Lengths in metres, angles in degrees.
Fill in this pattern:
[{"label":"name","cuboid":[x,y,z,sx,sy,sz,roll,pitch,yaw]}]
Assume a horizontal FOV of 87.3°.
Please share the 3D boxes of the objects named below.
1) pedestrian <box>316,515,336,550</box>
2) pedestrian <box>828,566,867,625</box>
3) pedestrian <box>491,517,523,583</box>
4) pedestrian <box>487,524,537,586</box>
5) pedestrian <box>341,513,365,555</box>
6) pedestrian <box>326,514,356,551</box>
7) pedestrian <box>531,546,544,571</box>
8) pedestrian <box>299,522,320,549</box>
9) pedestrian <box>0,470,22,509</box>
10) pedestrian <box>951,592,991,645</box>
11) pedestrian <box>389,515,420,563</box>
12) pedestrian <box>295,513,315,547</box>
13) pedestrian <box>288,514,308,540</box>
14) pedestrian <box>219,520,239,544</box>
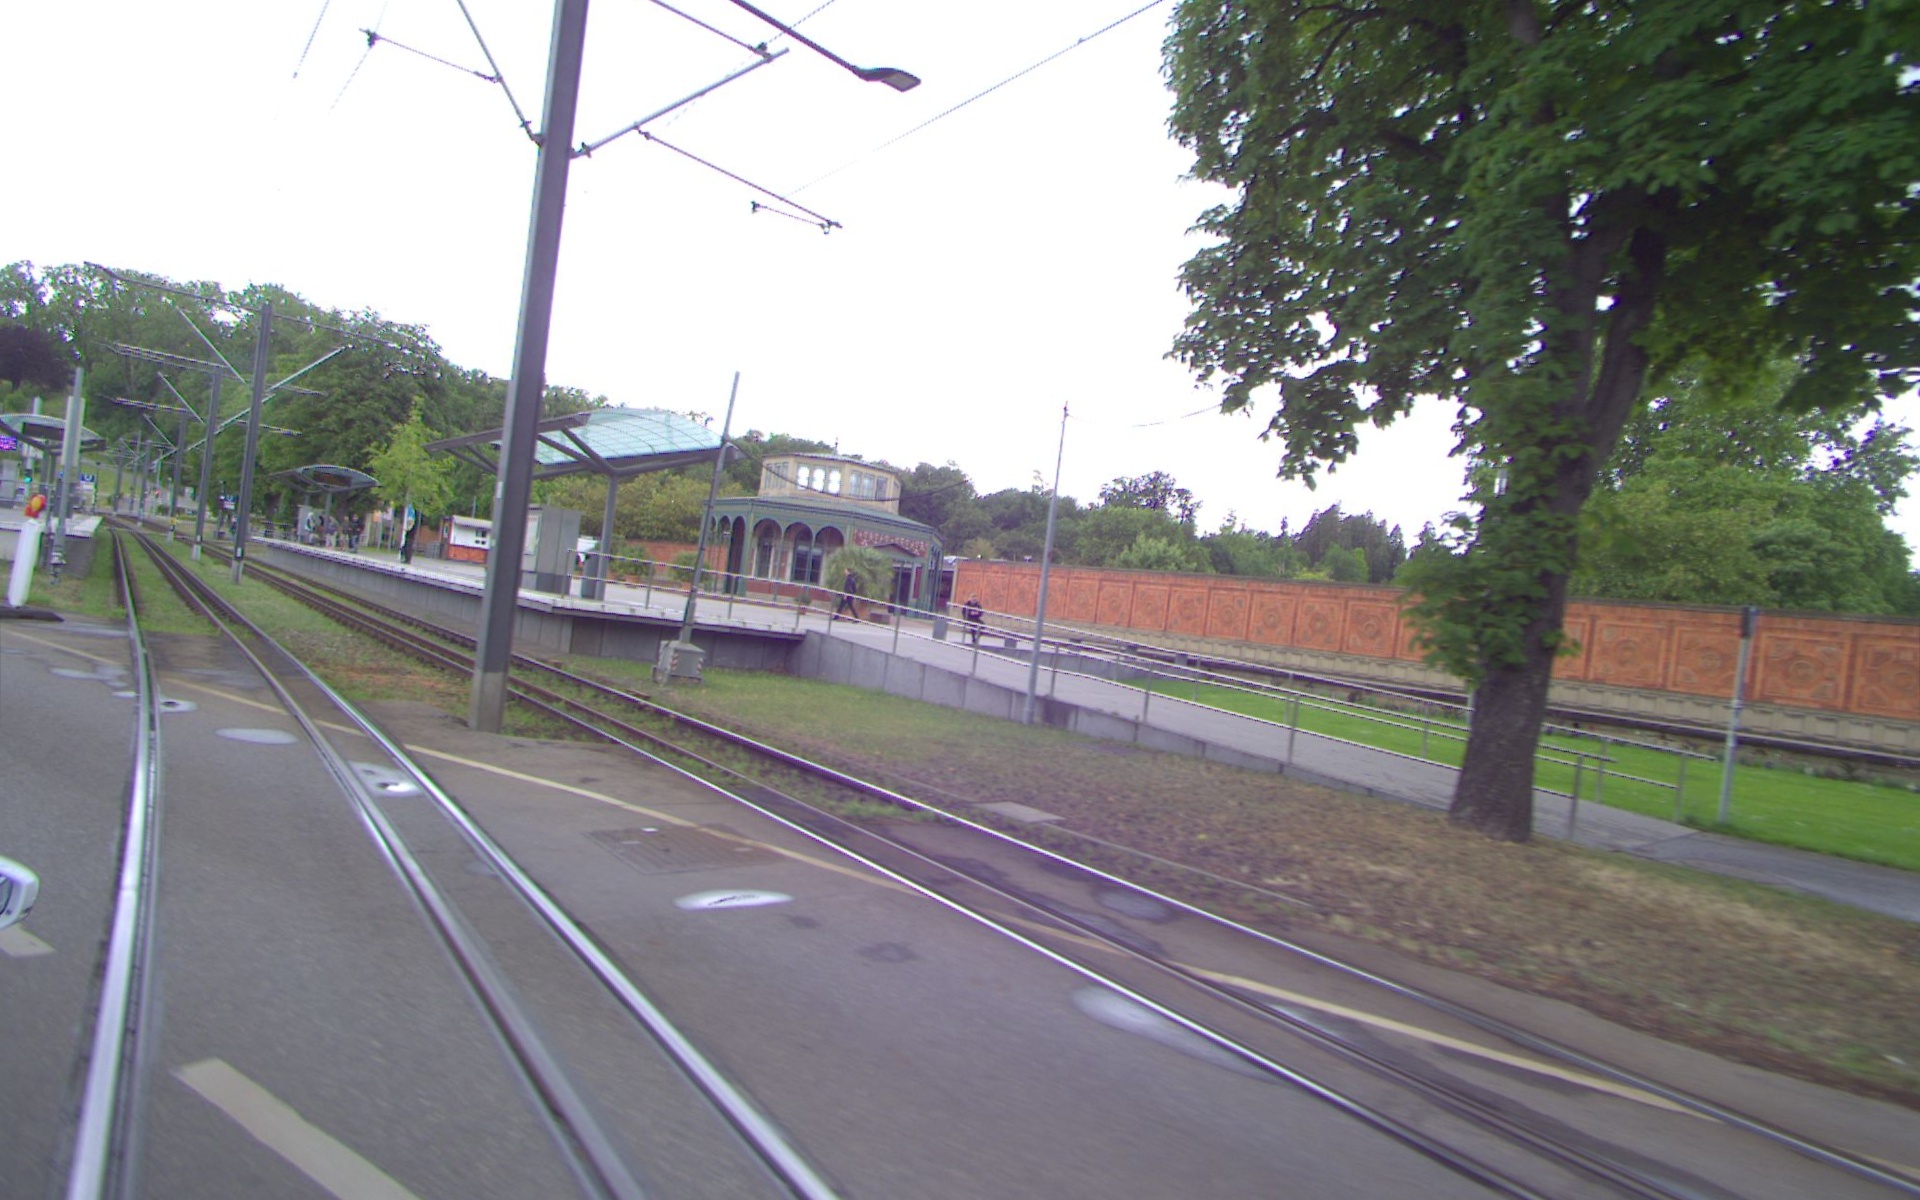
[{"label":"pedestrian","cuboid":[-30.636,-3.267,48.627,0.522,1.638,0.668,10,-2,-39]},{"label":"pedestrian","cuboid":[-3.871,-0.158,34.684,0.935,1.858,0.550,8,-2,23]},{"label":"pedestrian","cuboid":[-12.063,-1.335,26.784,0.483,1.679,0.623,9,-2,-32]},{"label":"pedestrian","cuboid":[-12.374,-1.234,27.796,0.773,1.559,0.761,8,-2,26]},{"label":"pedestrian","cuboid":[-28.258,-3.065,46.829,0.630,1.858,0.940,10,-2,-39]},{"label":"pedestrian","cuboid":[-30.822,-3.357,50.067,0.750,1.696,0.860,7,-2,39]},{"label":"pedestrian","cuboid":[-27.171,-2.660,64.736,0.483,1.504,0.455,9,-2,-38]},{"label":"pedestrian","cuboid":[-32.017,-3.191,49.515,0.655,1.204,0.668,10,-2,-39]},{"label":"pedestrian","cuboid":[-41.918,-4.880,44.217,0.748,1.571,0.766,10,0,-39]},{"label":"pedestrian","cuboid":[0.272,0.460,25.307,0.660,1.214,0.547,7,-2,43]},{"label":"pedestrian","cuboid":[-20.900,-2.301,37.852,0.631,1.706,0.856,10,-2,-41]},{"label":"pedestrian","cuboid":[-34.211,-3.644,52.551,0.543,1.696,0.667,10,-2,-44]},{"label":"pedestrian","cuboid":[-37.546,-4.149,57.030,0.672,1.338,0.956,10,-2,-42]},{"label":"pedestrian","cuboid":[-53.794,-4.973,74.039,0.765,1.629,0.834,7,1,27]}]
